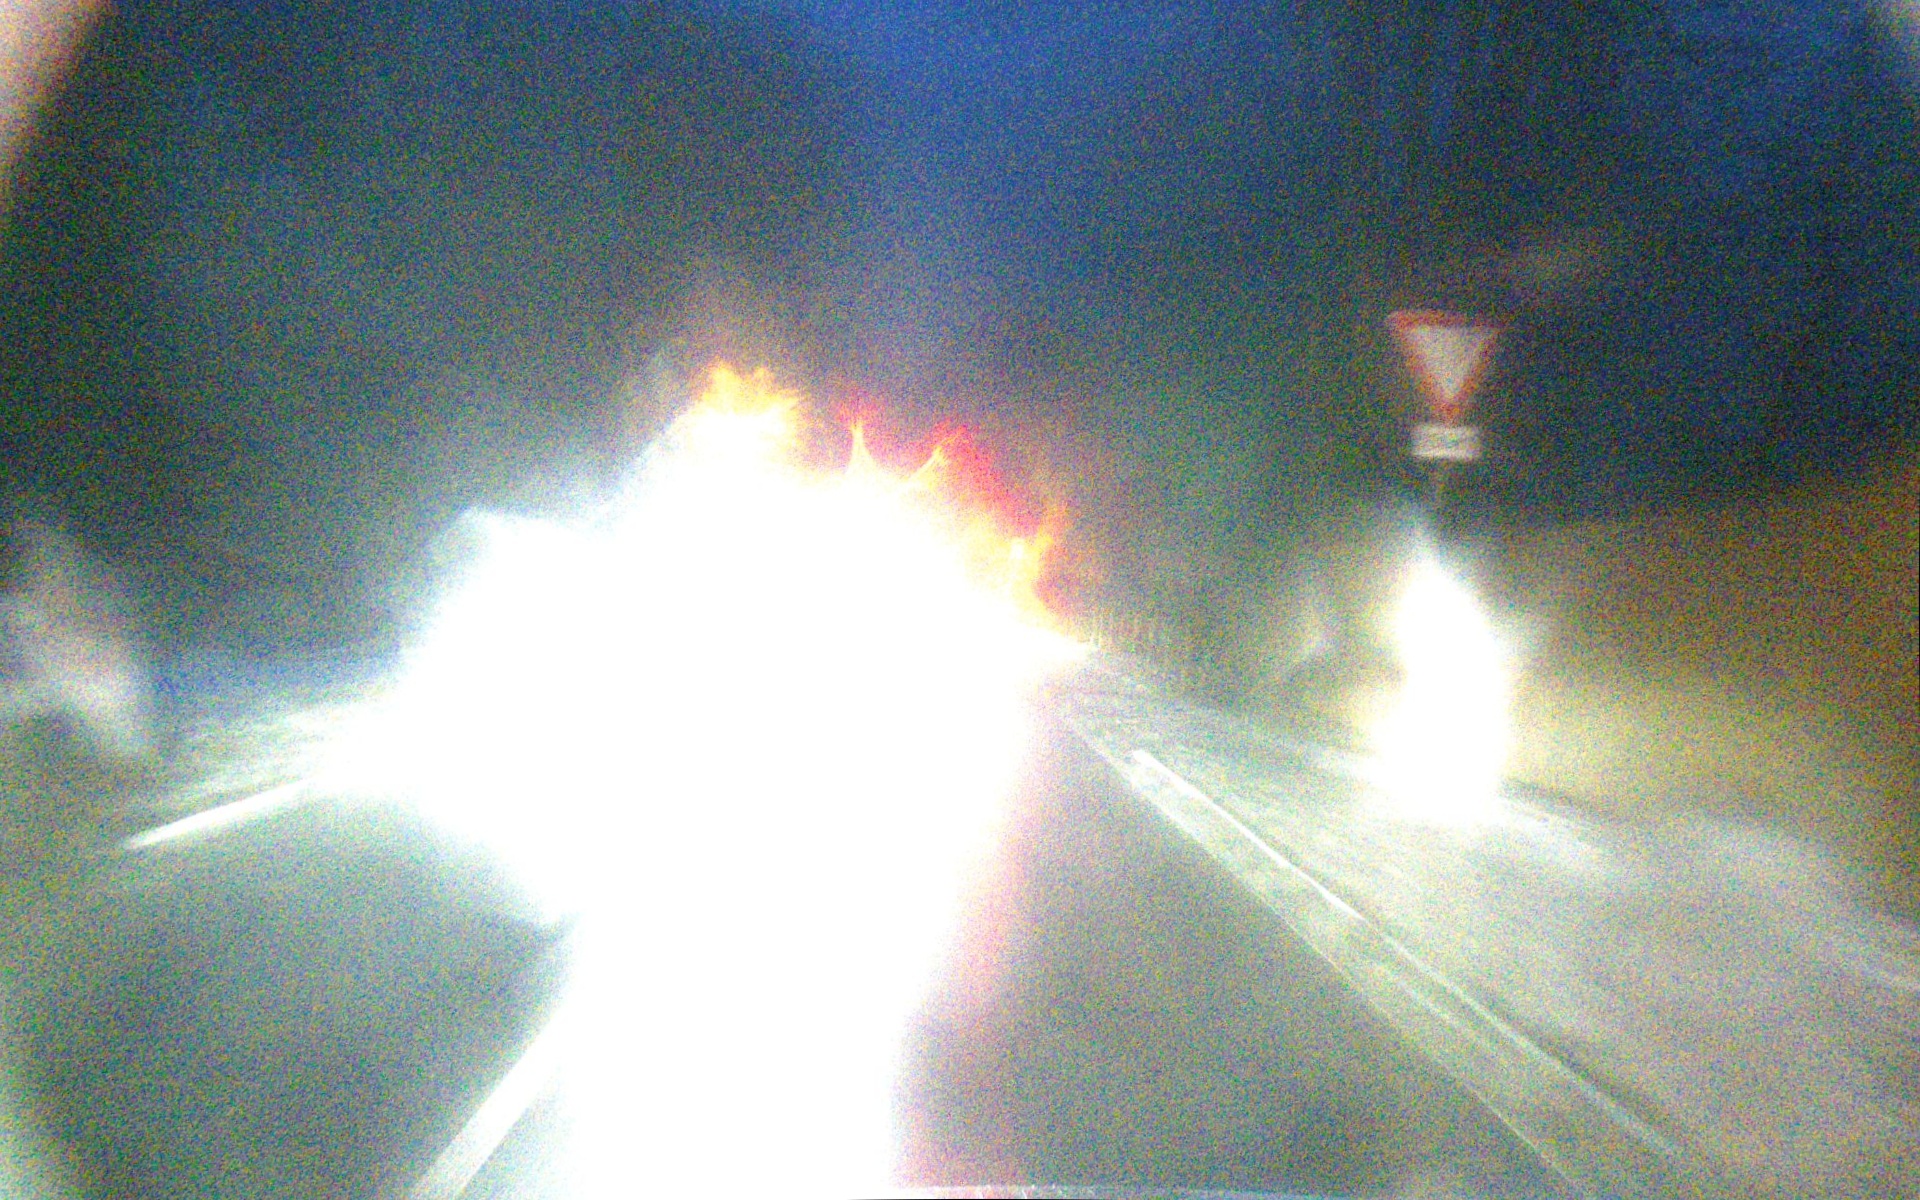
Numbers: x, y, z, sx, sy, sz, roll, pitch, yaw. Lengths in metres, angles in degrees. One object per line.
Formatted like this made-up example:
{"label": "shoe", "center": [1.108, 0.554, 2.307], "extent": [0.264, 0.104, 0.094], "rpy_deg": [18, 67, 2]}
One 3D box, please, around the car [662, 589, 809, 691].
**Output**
{"label": "car", "center": [-3.619, 0.621, 27.386], "extent": [1.876, 1.501, 4.202], "rpy_deg": [2, 0, -1]}

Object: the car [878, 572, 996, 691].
{"label": "car", "center": [-0.425, 0.437, 26.725], "extent": [1.755, 1.710, 3.903], "rpy_deg": [1, 2, -2]}
